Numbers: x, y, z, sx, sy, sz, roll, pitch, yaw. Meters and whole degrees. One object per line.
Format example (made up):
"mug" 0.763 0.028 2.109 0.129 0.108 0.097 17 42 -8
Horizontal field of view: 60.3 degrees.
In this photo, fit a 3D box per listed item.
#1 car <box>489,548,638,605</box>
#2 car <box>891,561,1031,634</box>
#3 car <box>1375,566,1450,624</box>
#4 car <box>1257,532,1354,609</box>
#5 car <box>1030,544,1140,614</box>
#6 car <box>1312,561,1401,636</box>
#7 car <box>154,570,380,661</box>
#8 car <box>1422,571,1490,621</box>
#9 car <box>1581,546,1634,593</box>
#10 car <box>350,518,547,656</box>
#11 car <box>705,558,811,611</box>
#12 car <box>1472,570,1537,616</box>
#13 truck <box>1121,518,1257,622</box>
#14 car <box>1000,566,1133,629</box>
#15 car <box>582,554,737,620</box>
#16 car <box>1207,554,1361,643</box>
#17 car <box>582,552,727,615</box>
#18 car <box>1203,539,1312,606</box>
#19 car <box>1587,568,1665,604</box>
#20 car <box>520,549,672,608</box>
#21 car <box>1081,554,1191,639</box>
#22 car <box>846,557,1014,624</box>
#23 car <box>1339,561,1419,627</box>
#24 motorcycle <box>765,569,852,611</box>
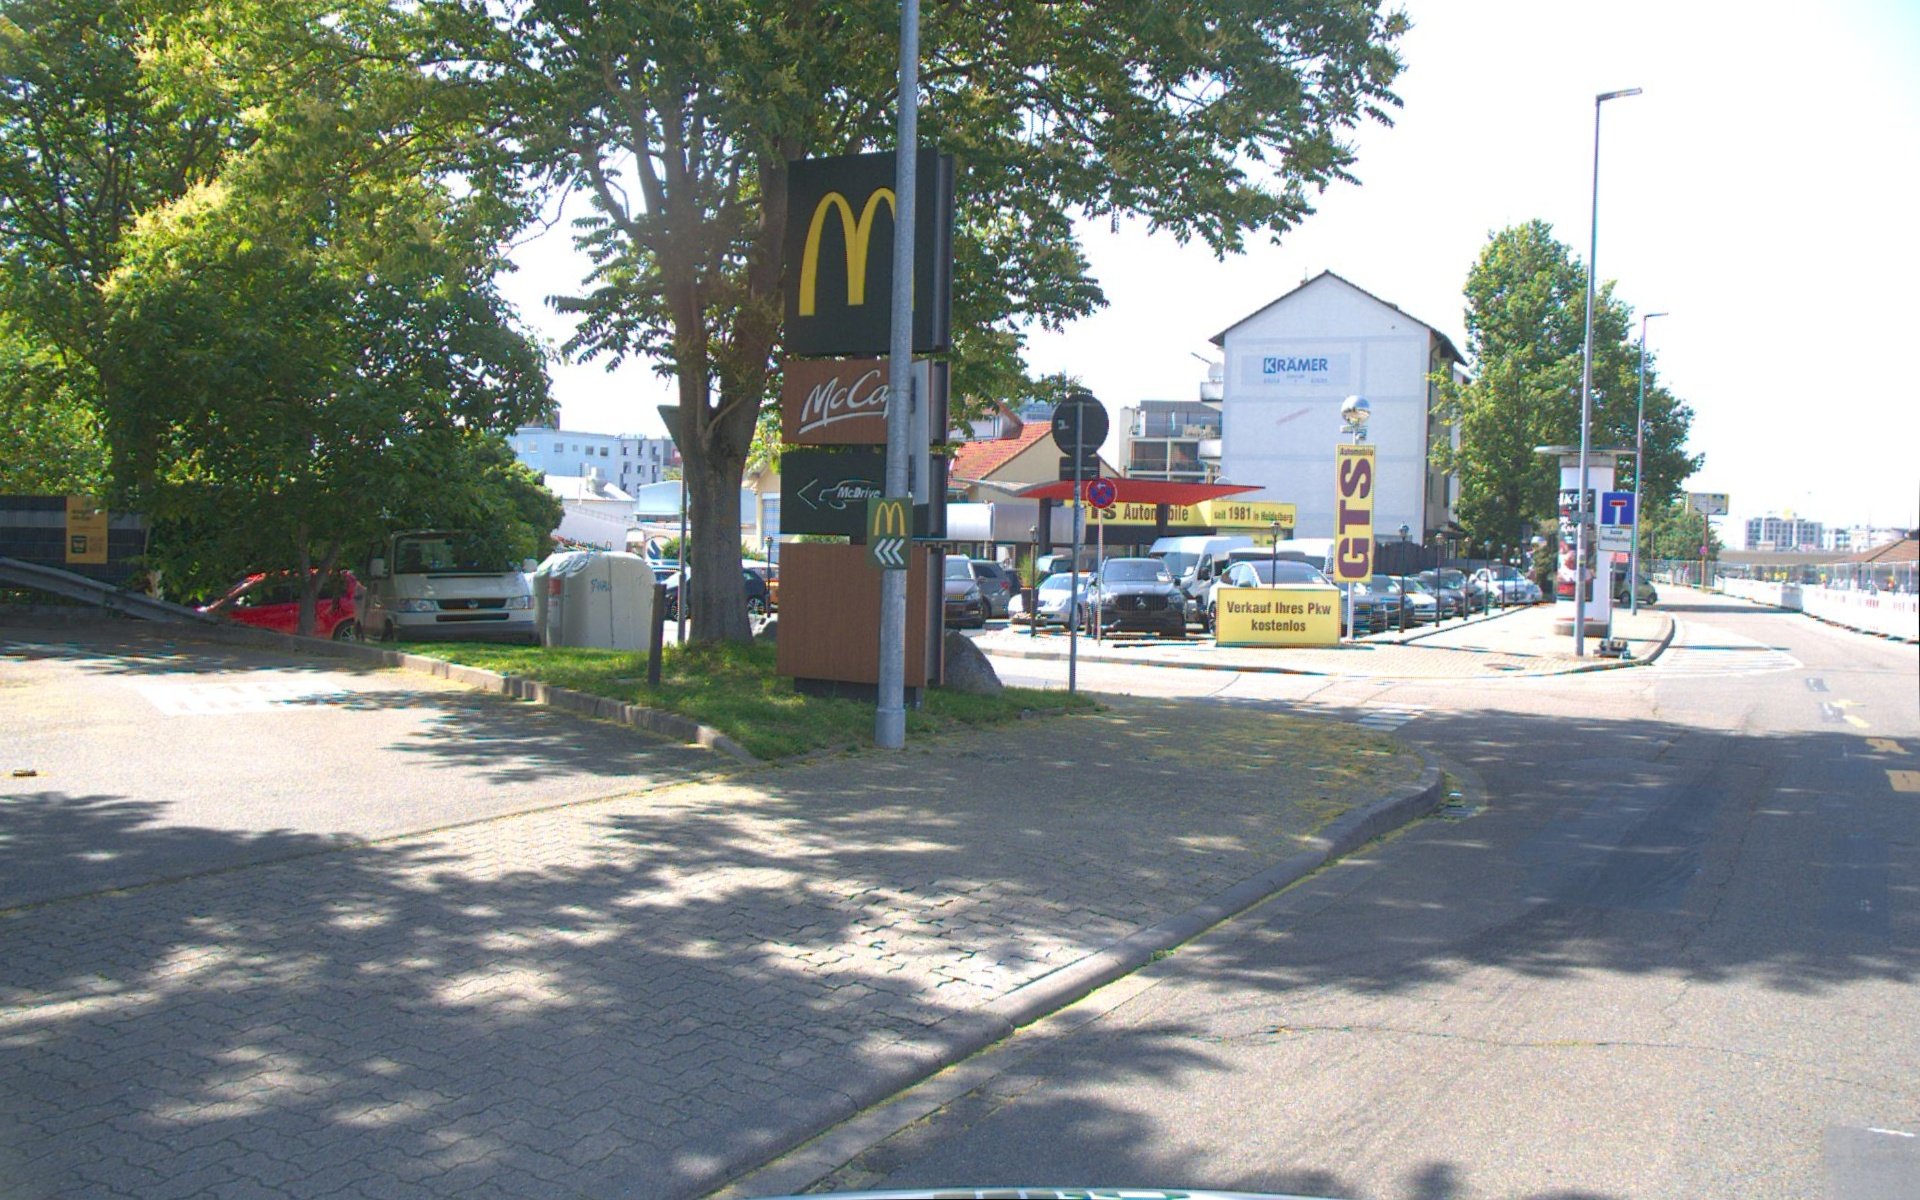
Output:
"car" -13.670 -0.806 57.213 4.617 1.755 1.969 2 1 -44
"car" 0.086 -0.058 38.351 1.752 1.536 3.998 3 1 23
"car" 13.792 -0.195 50.585 1.817 1.657 4.004 2 1 10
"car" 11.158 -0.941 53.164 2.093 2.324 4.710 2 1 23
"car" 3.983 -0.638 52.096 1.954 2.048 4.493 3 1 25
"car" 9.567 -0.075 40.145 1.817 1.657 4.004 2 1 10
"car" -11.901 0.235 28.444 3.375 1.402 1.469 0 4 -35
"car" 17.479 -0.177 58.400 1.817 1.657 4.004 2 1 10
"car" 37.744 -1.758 96.323 2.488 2.563 5.115 3 1 25
"car" -7.126 -0.259 22.678 1.927 1.610 4.994 2 2 -25
"car" -6.854 -0.540 55.869 1.976 1.612 3.954 2 1 -34
"car" 21.498 -0.307 65.412 1.817 1.657 4.004 2 1 10
"truck" 7.178 -0.912 51.228 2.226 2.954 5.936 3 2 27
"car" 2.857 -0.056 43.542 1.756 1.513 3.989 3 1 32
"car" -8.699 -0.362 47.995 3.957 1.735 1.974 2 1 -37
"car" 6.968 -0.077 35.999 1.957 1.755 3.992 2 1 -9
"car" -9.426 -0.504 51.249 3.969 1.755 1.968 2 1 -44
"car" 8.629 -0.781 47.679 1.841 1.768 4.718 4 2 25
"car" 33.409 -0.695 82.950 3.217 1.666 1.719 2 1 -17
"car" -12.146 -0.704 55.370 4.617 1.755 1.969 2 1 -44
"car" 3.729 -0.107 35.736 2.004 1.622 4.425 2 1 2
"car" -0.838 -0.265 45.097 4.246 1.612 1.994 2 1 -13
"car" 11.475 -0.202 45.487 1.817 1.657 4.004 2 1 10
"motorcycle" -4.799 -0.313 52.580 2.698 1.248 0.983 2 1 -44
